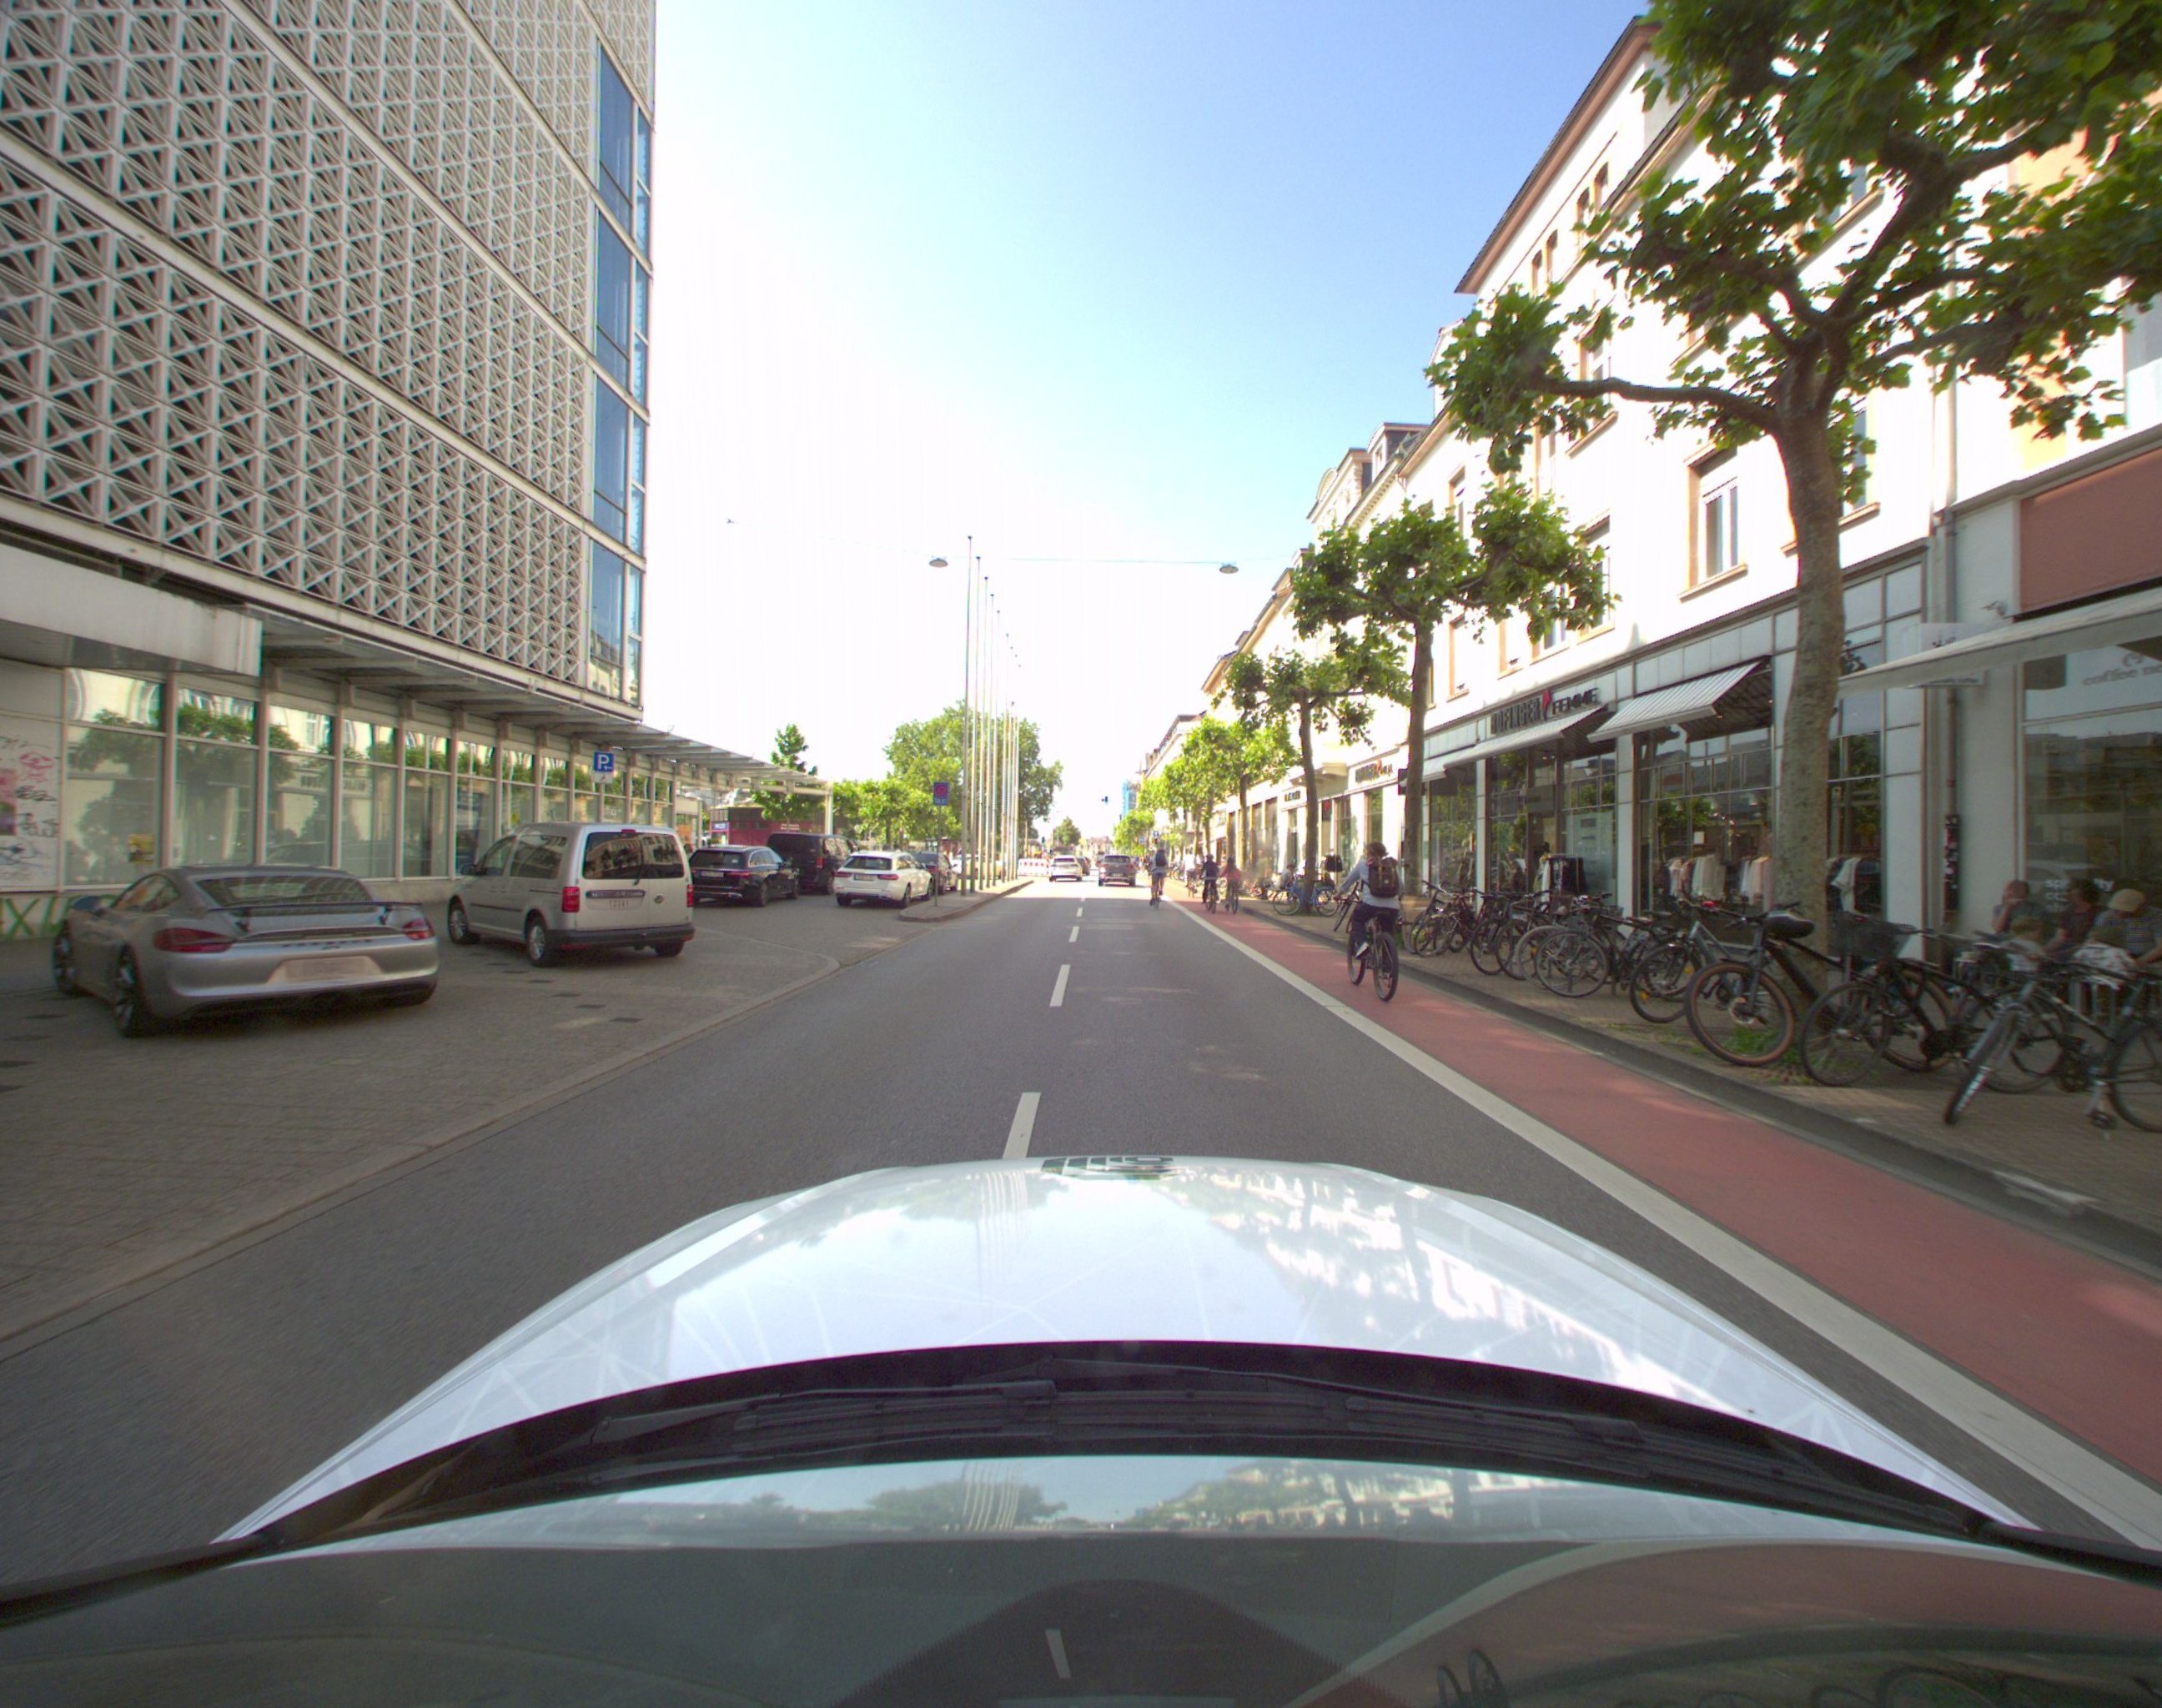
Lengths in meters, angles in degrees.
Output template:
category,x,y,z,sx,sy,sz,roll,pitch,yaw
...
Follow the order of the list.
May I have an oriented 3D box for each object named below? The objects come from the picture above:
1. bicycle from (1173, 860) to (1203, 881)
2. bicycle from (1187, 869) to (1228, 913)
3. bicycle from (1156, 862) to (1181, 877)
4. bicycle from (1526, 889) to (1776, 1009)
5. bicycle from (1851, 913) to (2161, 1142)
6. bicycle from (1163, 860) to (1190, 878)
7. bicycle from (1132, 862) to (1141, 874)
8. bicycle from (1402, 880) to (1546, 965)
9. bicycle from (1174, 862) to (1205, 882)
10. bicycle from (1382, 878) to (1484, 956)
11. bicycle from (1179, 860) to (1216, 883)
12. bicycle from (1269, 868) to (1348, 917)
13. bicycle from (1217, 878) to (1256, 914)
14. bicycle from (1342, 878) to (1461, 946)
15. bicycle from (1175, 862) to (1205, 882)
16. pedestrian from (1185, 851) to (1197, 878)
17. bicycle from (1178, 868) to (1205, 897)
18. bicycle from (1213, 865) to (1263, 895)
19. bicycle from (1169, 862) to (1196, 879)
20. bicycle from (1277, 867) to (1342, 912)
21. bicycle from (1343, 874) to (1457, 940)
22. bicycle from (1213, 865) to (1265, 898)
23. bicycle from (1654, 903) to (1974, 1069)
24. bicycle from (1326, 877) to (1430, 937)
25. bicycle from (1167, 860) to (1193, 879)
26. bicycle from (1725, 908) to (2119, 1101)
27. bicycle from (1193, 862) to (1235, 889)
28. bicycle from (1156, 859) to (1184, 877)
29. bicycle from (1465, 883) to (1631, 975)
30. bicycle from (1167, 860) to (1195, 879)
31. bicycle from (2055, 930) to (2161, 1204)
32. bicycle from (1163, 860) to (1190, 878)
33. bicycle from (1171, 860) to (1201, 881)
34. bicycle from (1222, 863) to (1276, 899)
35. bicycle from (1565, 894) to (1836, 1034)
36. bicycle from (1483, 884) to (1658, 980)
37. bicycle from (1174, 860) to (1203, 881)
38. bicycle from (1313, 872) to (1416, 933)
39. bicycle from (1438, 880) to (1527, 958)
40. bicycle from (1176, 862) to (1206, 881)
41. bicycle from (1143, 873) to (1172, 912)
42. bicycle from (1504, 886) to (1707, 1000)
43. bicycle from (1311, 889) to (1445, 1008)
category,x,y,z,sx,sy,sz,roll,pitch,yaw
bicycle,6.306,0.978,48.243,1.721,1.217,0.478,1,-1,3
bicycle,3.518,1.018,22.781,0.696,1.127,2.079,2,0,-2
bicycle,6.592,1.133,61.208,1.777,1.122,0.562,0,-1,-3
bicycle,5.808,0.941,8.432,1.972,1.127,0.764,0,-2,13
bicycle,5.514,0.914,4.507,1.832,1.127,0.667,0,-1,2
bicycle,6.497,1.029,55.409,1.836,1.201,0.545,1,-1,3
bicycle,4.704,1.200,69.119,0.645,0.998,2.031,1,0,1
bicycle,5.625,0.953,11.708,1.822,1.127,0.451,-1,-2,28
bicycle,6.381,1.053,47.881,1.721,1.109,0.478,1,-1,3
bicycle,5.526,0.946,12.738,1.853,1.127,0.587,1,-2,-35
bicycle,6.395,0.956,44.714,1.923,1.248,0.737,1,-1,3
bicycle,5.791,0.983,20.760,1.838,1.127,0.496,3,1,-8
bicycle,4.271,1.144,22.479,0.598,0.926,2.085,-1,-2,-2
bicycle,5.526,0.994,14.093,1.833,1.093,0.564,2,-1,0
bicycle,6.338,1.034,47.462,1.721,1.109,0.403,1,-1,3
pedestrian,6.651,0.622,49.207,0.612,1.612,0.745,1,-1,2
bicycle,4.157,1.071,30.798,0.771,1.006,2.330,0,0,1
bicycle,6.071,1.013,31.506,1.831,1.097,0.795,1,-1,6
bicycle,6.559,1.072,52.666,1.642,1.095,0.607,1,-1,3
bicycle,6.299,0.980,22.423,1.784,1.197,0.572,1,-1,-27
bicycle,5.888,0.976,15.063,1.841,1.127,0.762,3,-2,-12
bicycle,5.787,0.989,29.853,1.828,1.127,0.499,2,-1,11
bicycle,5.350,0.944,6.015,1.832,1.127,0.530,0,-2,2
bicycle,5.762,1.022,15.806,1.840,1.093,0.562,2,-1,-10
bicycle,6.583,1.024,54.189,1.642,1.201,0.475,1,-1,3
bicycle,5.403,0.938,5.319,1.832,1.127,0.667,0,-1,2
bicycle,6.136,0.984,37.616,1.831,1.186,0.671,2,-1,5
bicycle,6.599,1.037,60.328,1.938,1.257,0.701,1,-1,-19
bicycle,5.938,0.940,10.406,1.832,1.127,0.448,0,-2,3
bicycle,6.718,1.030,54.601,1.836,1.201,0.474,1,-1,3
bicycle,5.476,0.917,3.460,1.832,1.127,0.644,0,-1,2
bicycle,6.543,1.039,55.914,1.836,1.201,0.609,1,-1,3
bicycle,6.311,0.993,48.968,1.721,1.217,0.478,1,-1,3
bicycle,5.933,0.945,28.786,1.830,1.197,0.675,1,-1,8
bicycle,5.376,0.934,7.152,1.832,1.127,0.680,1,-2,2
bicycle,5.948,0.937,9.946,1.832,1.127,0.448,0,-2,3
bicycle,6.506,1.002,49.458,1.721,1.217,0.478,1,-1,3
bicycle,5.673,0.962,16.306,1.840,1.127,0.630,3,-1,-10
bicycle,6.270,0.976,12.682,1.854,1.127,0.443,1,-2,-37
bicycle,6.355,1.003,47.048,1.721,1.109,0.403,1,-1,3
bicycle,2.142,1.058,22.942,0.628,0.980,2.088,1,0,0
bicycle,5.834,0.970,9.146,1.827,1.127,0.532,2,-1,13
bicycle,3.364,1.025,9.439,0.696,1.127,2.079,2,0,-2
